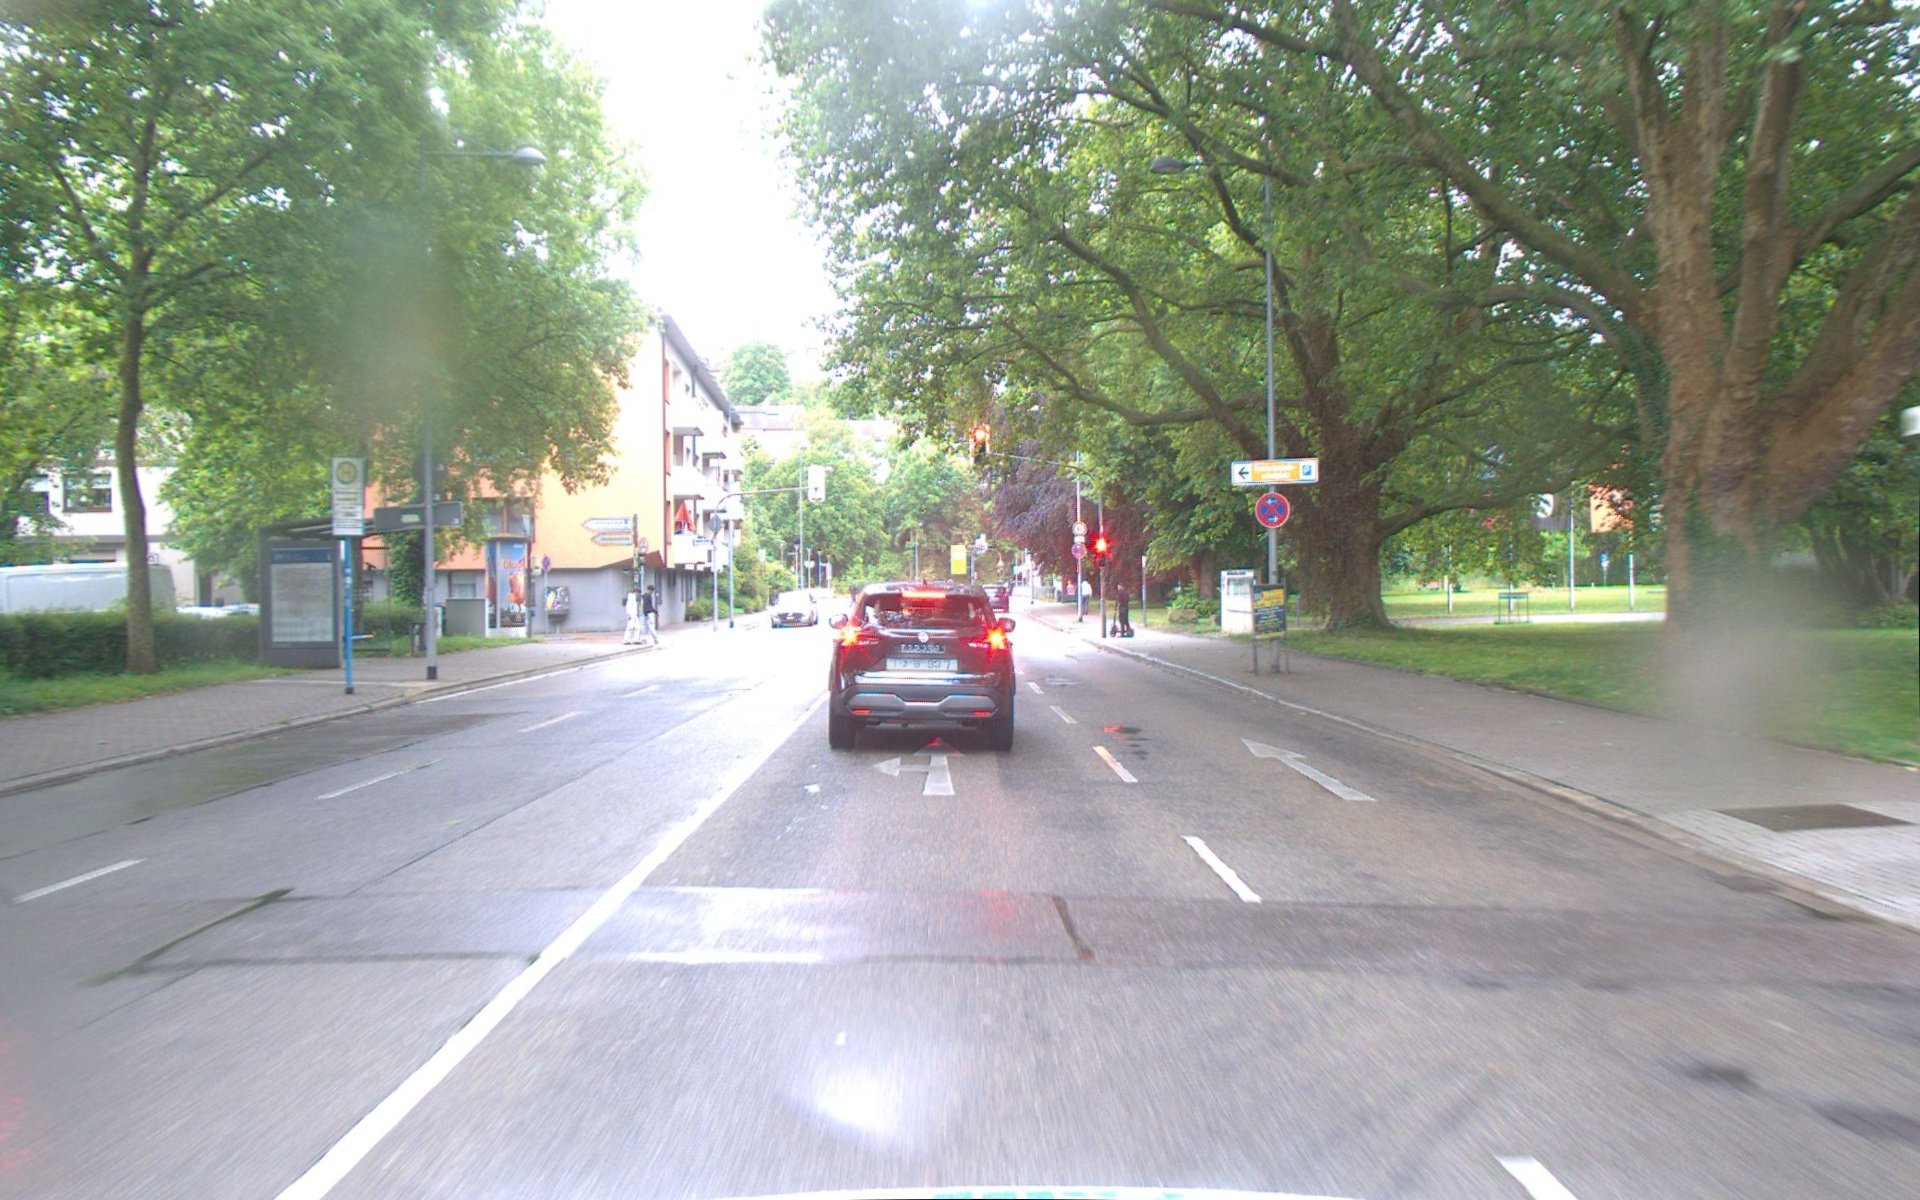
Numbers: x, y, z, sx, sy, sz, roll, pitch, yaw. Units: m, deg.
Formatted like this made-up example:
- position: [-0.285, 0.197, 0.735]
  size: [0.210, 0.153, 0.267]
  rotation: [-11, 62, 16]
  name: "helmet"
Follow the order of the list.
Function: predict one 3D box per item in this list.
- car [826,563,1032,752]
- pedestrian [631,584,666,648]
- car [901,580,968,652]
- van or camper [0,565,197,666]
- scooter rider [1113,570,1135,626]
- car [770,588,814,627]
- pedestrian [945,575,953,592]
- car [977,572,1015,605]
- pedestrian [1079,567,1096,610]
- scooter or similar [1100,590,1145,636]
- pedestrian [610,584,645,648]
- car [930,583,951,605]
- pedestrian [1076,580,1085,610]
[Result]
- position: [-0.311, 0.515, 17.203]
  size: [1.874, 1.709, 3.999]
  rotation: [1, 0, -1]
  name: "car"
- position: [-9.479, 0.488, 50.334]
  size: [1.017, 1.909, 0.656]
  rotation: [0, 0, -13]
  name: "pedestrian"
- position: [-0.677, 0.384, 43.511]
  size: [1.664, 1.776, 3.640]
  rotation: [-1, 1, -1]
  name: "car"
- position: [-18.490, 0.307, 34.138]
  size: [4.504, 1.983, 1.999]
  rotation: [-1, 0, -3]
  name: "van or camper"
- position: [5.297, -0.056, 53.270]
  size: [0.629, 1.797, 0.736]
  rotation: [-1, -1, 11]
  name: "scooter rider"
- position: [-7.154, 0.284, 70.638]
  size: [1.760, 1.560, 3.864]
  rotation: [-2, 0, -4]
  name: "car"
- position: [-1.111, -1.672, 164.779]
  size: [0.498, 1.702, 0.658]
  rotation: [-1, 0, 27]
  name: "pedestrian"
- position: [2.042, -0.610, 92.858]
  size: [1.952, 1.765, 4.002]
  rotation: [2, 0, 4]
  name: "car"
- position: [6.205, -0.556, 80.781]
  size: [0.710, 2.049, 0.851]
  rotation: [-1, 0, -1]
  name: "pedestrian"
- position: [5.240, 0.417, 53.330]
  size: [1.364, 1.471, 0.818]
  rotation: [-1, -1, 11]
  name: "scooter or similar"
- position: [-9.946, 0.474, 49.437]
  size: [1.017, 1.909, 0.656]
  rotation: [0, 0, -13]
  name: "pedestrian"
- position: [-1.499, -0.475, 126.154]
  size: [1.601, 1.559, 3.967]
  rotation: [-1, 1, -1]
  name: "car"
- position: [6.209, -0.249, 85.178]
  size: [0.382, 1.528, 0.559]
  rotation: [-1, 0, -1]
  name: "pedestrian"
